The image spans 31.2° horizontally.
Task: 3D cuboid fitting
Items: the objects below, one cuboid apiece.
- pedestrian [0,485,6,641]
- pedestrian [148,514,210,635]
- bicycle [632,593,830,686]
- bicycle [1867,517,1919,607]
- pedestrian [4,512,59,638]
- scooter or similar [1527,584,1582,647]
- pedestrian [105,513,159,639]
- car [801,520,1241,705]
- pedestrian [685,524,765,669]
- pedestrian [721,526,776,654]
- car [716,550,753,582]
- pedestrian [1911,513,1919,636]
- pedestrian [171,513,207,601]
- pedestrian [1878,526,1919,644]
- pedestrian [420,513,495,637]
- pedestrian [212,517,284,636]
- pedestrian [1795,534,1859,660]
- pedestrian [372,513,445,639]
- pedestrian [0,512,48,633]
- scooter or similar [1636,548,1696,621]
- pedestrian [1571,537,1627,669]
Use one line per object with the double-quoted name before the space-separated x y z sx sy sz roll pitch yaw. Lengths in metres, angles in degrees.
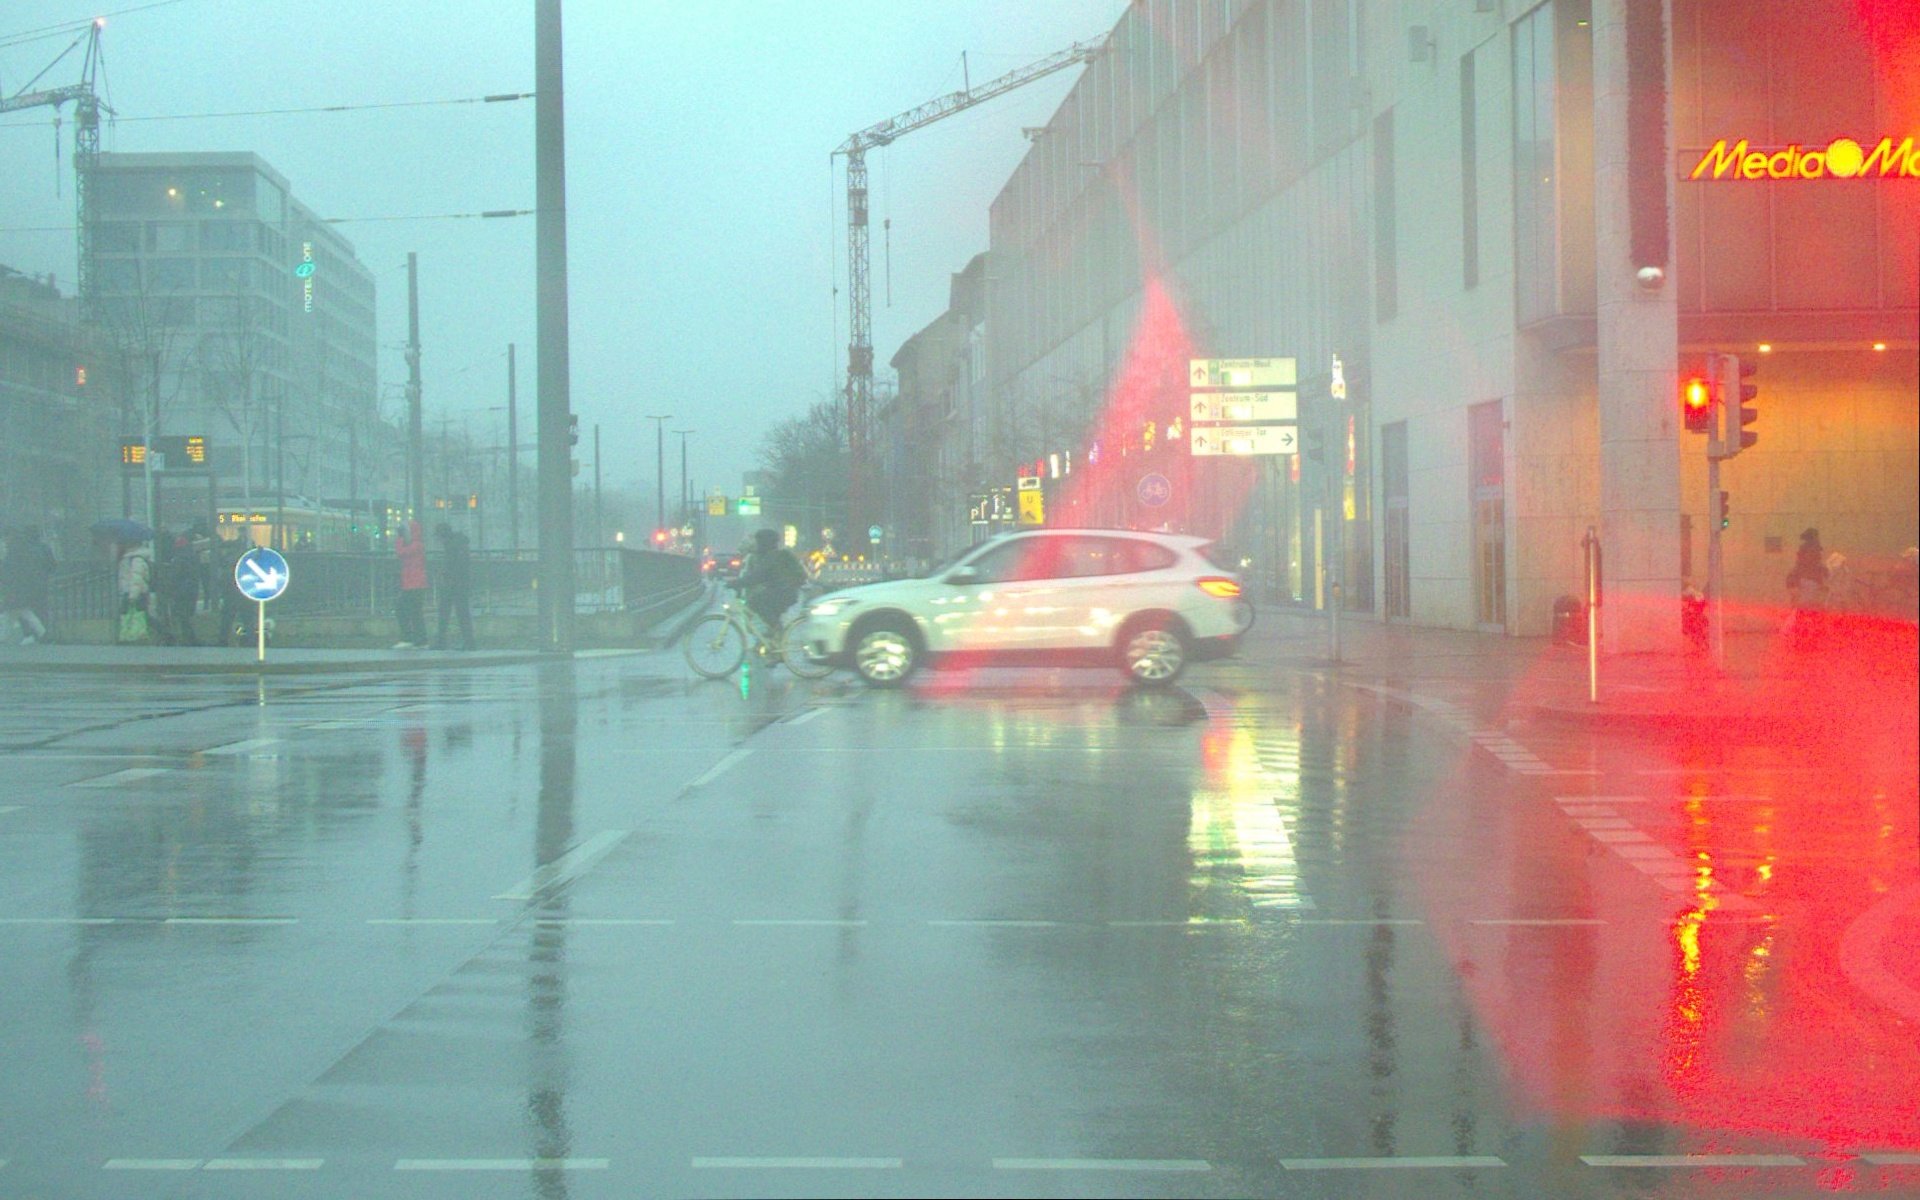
"pedestrian" -12.796 -0.466 44.269 0.775 2.007 0.613 -1 1 -39
"pedestrian" -10.582 -0.349 46.602 0.706 1.613 0.613 -1 1 -3
"bicycle" -2.515 0.435 37.870 2.128 0.988 0.541 1 0 1
"bicycle" 14.838 -0.581 51.327 2.424 1.325 0.635 -1 1 -5
"pedestrian" -12.984 -0.356 48.086 0.619 1.740 0.613 -1 1 -6
"scooter or similar" 8.862 0.230 51.267 0.741 0.913 0.400 -1 1 1
"pedestrian" -11.510 -0.337 47.815 0.619 1.740 0.613 -1 1 -6
"car" 0.609 0.108 34.620 4.303 1.755 1.707 -1 1 1
"pedestrian" -2.588 -0.042 37.872 0.814 1.564 0.536 -1 1 1
"pedestrian" -2.926 -0.136 47.696 0.703 1.754 0.652 -1 1 -1
"car" -12.848 -1.935 195.882 1.888 1.777 3.714 1 0 -1
"pedestrian" 13.942 -0.364 49.226 0.512 1.754 0.374 -1 1 -1
"pedestrian" -15.432 -0.862 68.827 0.660 1.740 0.736 -1 1 -11
"pedestrian" 13.743 -0.223 50.104 0.536 1.712 0.501 0 1 37
"pedestrian" -6.896 -0.349 47.204 0.843 1.682 0.677 -1 1 8
"pedestrian" -9.777 -0.328 47.209 0.809 1.602 0.745 -1 1 -1
"pedestrian" 12.216 -0.044 48.462 0.702 1.754 0.667 -1 1 -1
"pedestrian" -7.448 -0.329 46.448 0.831 1.673 0.619 -1 1 5
"pedestrian" -12.707 -0.370 46.184 0.706 1.613 0.680 -1 1 1
"scooter or similar" 9.736 -0.214 47.401 0.741 0.990 0.400 -1 1 1
"pedestrian" 8.639 0.034 46.465 0.633 1.766 0.484 -1 1 -2
